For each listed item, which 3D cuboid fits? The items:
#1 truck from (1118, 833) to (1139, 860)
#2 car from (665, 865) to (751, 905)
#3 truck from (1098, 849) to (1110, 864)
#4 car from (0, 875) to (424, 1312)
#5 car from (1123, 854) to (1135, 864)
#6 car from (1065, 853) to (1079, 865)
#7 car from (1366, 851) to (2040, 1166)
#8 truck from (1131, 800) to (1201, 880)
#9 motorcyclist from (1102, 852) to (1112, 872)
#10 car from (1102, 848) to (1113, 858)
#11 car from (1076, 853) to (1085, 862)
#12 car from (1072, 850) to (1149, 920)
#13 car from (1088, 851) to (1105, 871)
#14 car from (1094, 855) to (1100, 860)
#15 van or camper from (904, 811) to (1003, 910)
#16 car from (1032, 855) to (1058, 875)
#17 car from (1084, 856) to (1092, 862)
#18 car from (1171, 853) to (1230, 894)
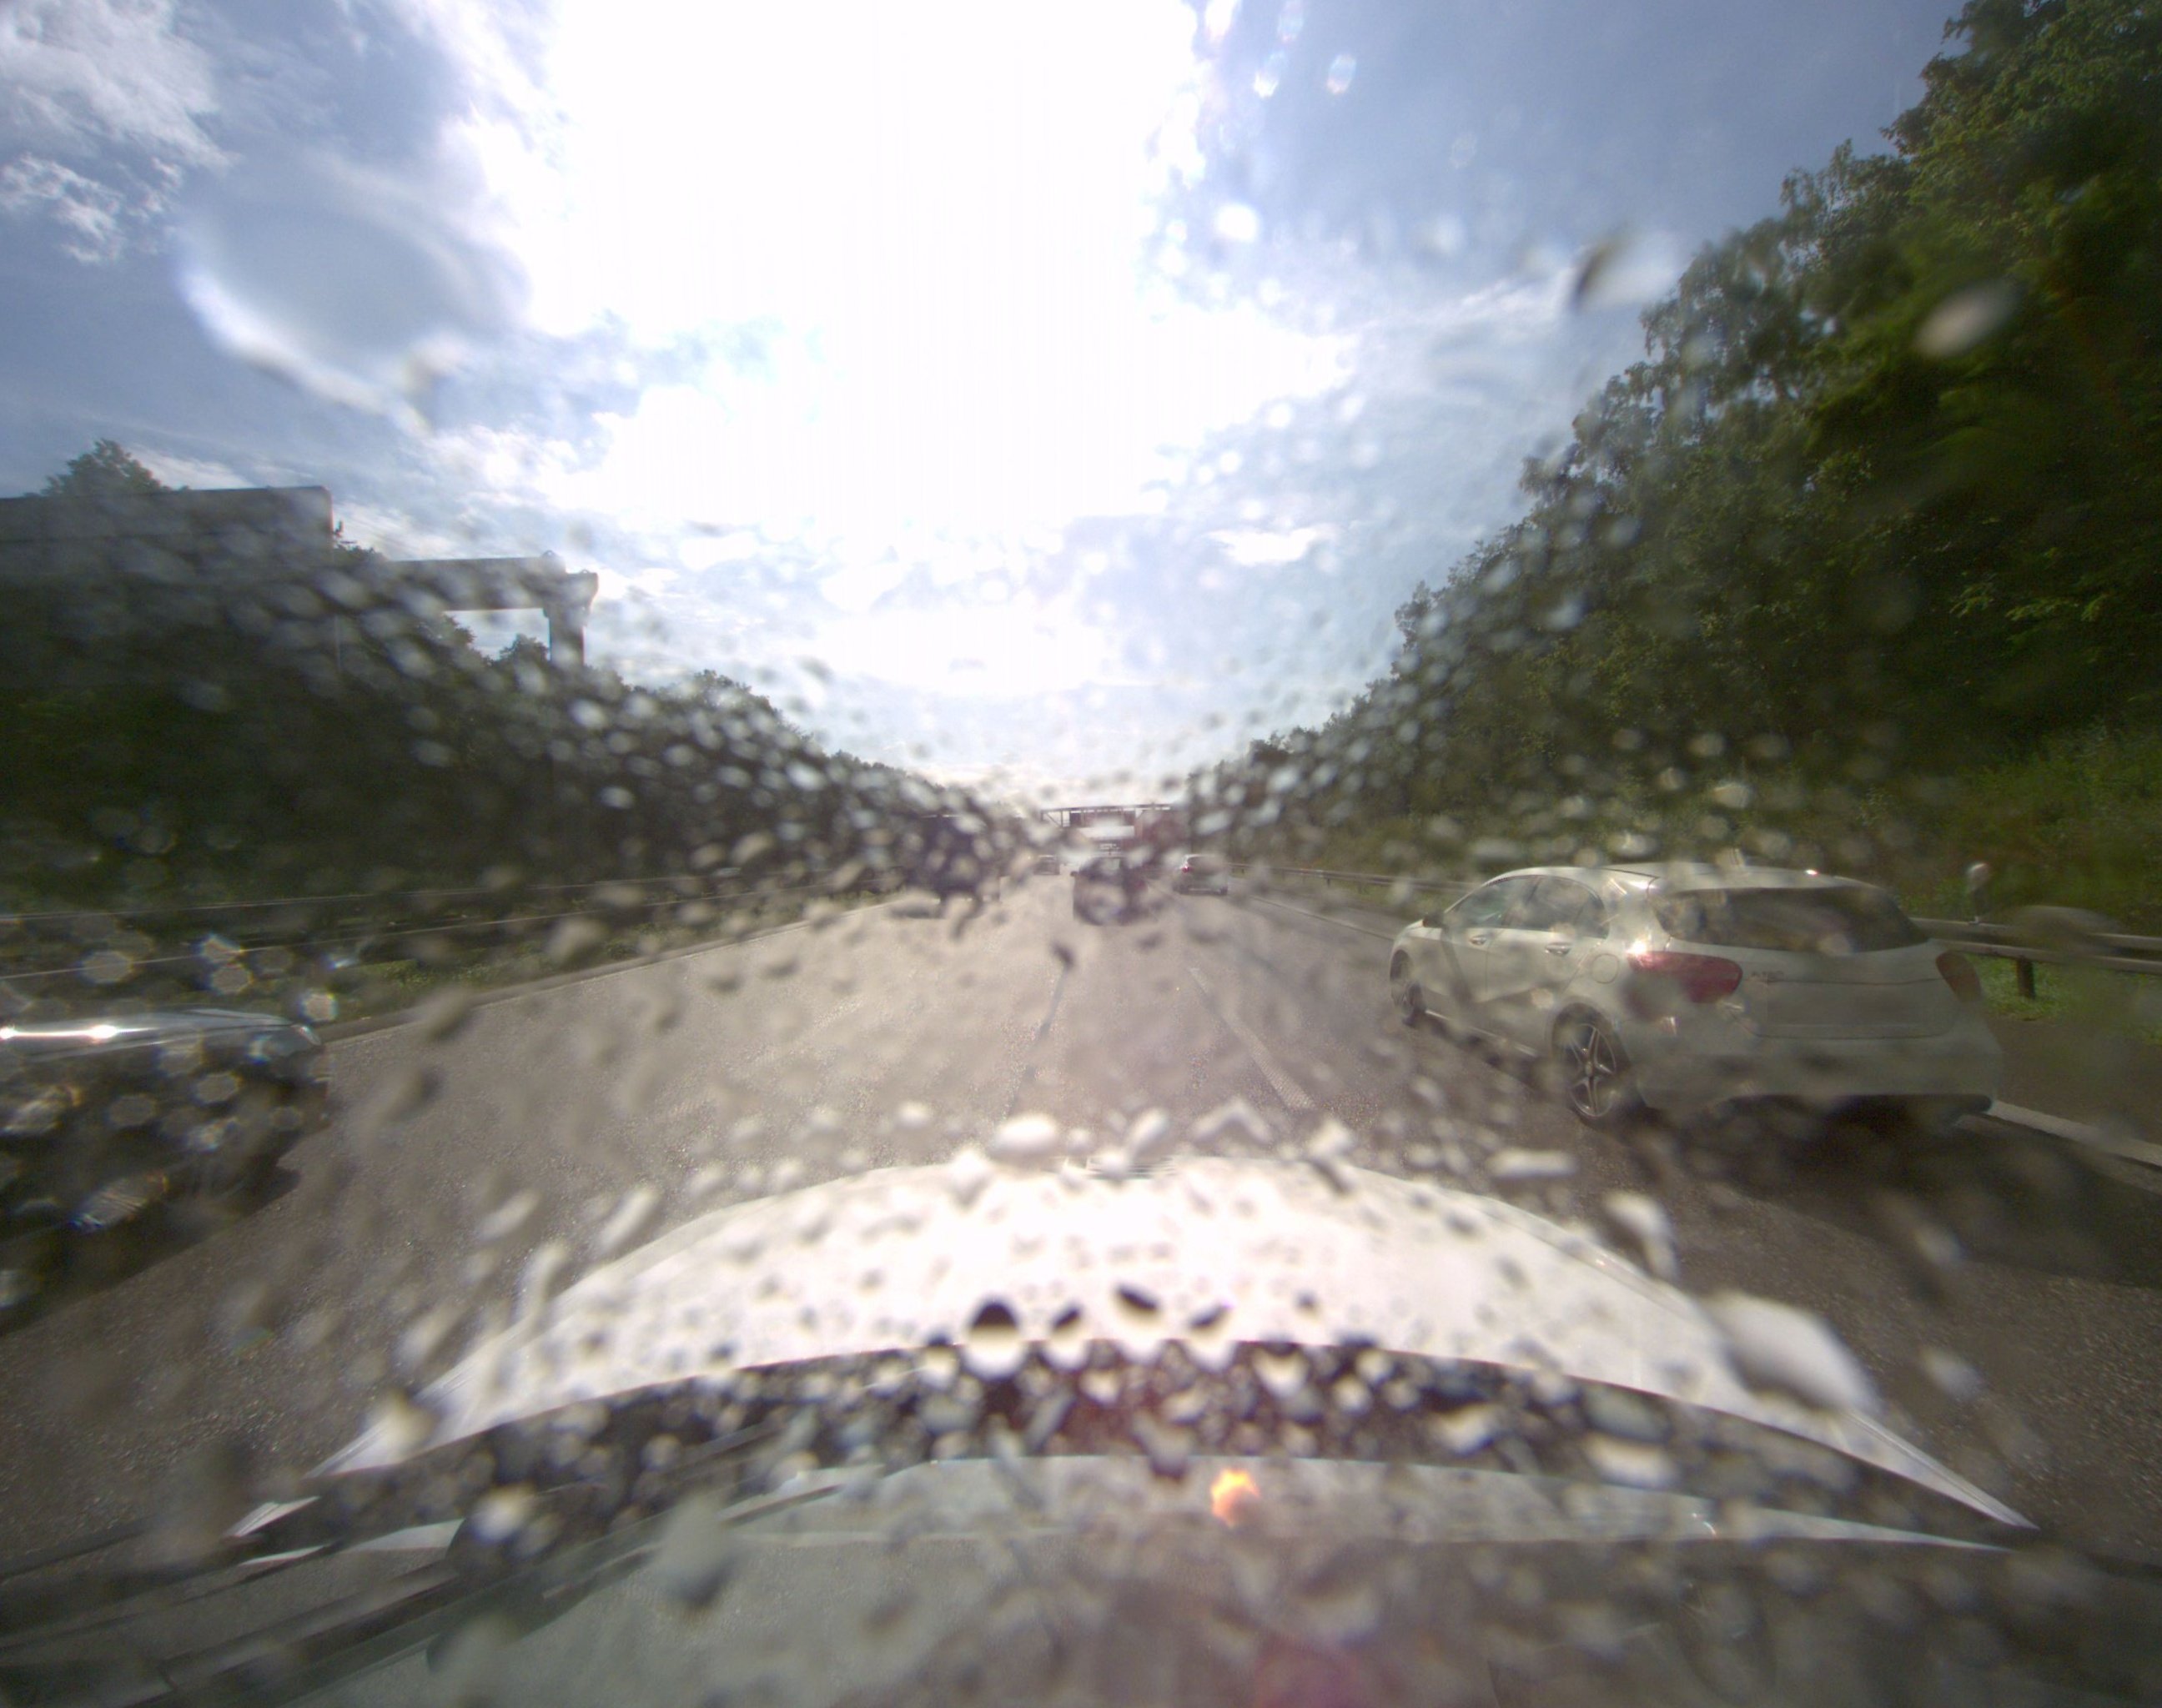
[{"bbox_3d":[8.042,-1.186,138.661,3.244,4.479,12.426,0,0,2],"label":"truck"},{"bbox_3d":[-16.998,1.363,37.294,1.986,1.675,4.001,0,0,2],"label":"car"},{"bbox_3d":[4.320,0.521,156.535,2.185,2.875,4.849,0,0,0],"label":"truck"},{"bbox_3d":[-4.518,0.823,2.012,1.788,1.419,4.840,0,0,1],"label":"car"},{"bbox_3d":[6.489,0.688,110.443,1.548,1.383,3.209,0,0,0],"label":"car"},{"bbox_3d":[-1.181,0.660,107.787,1.745,1.457,3.389,0,0,0],"label":"car"},{"bbox_3d":[3.571,0.713,5.826,1.686,1.425,4.221,0,0,2],"label":"car"},{"bbox_3d":[5.612,-0.819,56.996,3.636,4.720,16.785,0,0,2],"label":"truck"},{"bbox_3d":[2.182,0.681,68.379,0.799,1.633,1.013,0,0,0],"label":"motorcyclist"},{"bbox_3d":[3.669,-0.077,113.217,1.548,1.383,3.209,0,0,0],"label":"car"},{"bbox_3d":[-0.140,0.618,132.276,1.455,1.393,3.311,0,0,0],"label":"car"},{"bbox_3d":[0.657,0.698,19.942,1.712,1.567,3.484,0,0,0],"label":"car"},{"bbox_3d":[1.423,0.632,75.179,1.526,1.746,3.484,0,0,0],"label":"car"},{"bbox_3d":[4.248,0.994,214.772,1.544,1.267,3.484,0,0,0],"label":"car"},{"bbox_3d":[-3.703,0.179,24.697,1.986,2.669,5.387,0,0,2],"label":"van or camper"},{"bbox_3d":[-2.749,0.827,62.553,1.849,1.551,3.484,0,0,0],"label":"car"},{"bbox_3d":[1.499,1.060,173.220,1.544,1.267,3.484,0,0,0],"label":"car"},{"bbox_3d":[4.510,0.714,31.226,1.675,1.442,3.904,0,0,0],"label":"car"}]
